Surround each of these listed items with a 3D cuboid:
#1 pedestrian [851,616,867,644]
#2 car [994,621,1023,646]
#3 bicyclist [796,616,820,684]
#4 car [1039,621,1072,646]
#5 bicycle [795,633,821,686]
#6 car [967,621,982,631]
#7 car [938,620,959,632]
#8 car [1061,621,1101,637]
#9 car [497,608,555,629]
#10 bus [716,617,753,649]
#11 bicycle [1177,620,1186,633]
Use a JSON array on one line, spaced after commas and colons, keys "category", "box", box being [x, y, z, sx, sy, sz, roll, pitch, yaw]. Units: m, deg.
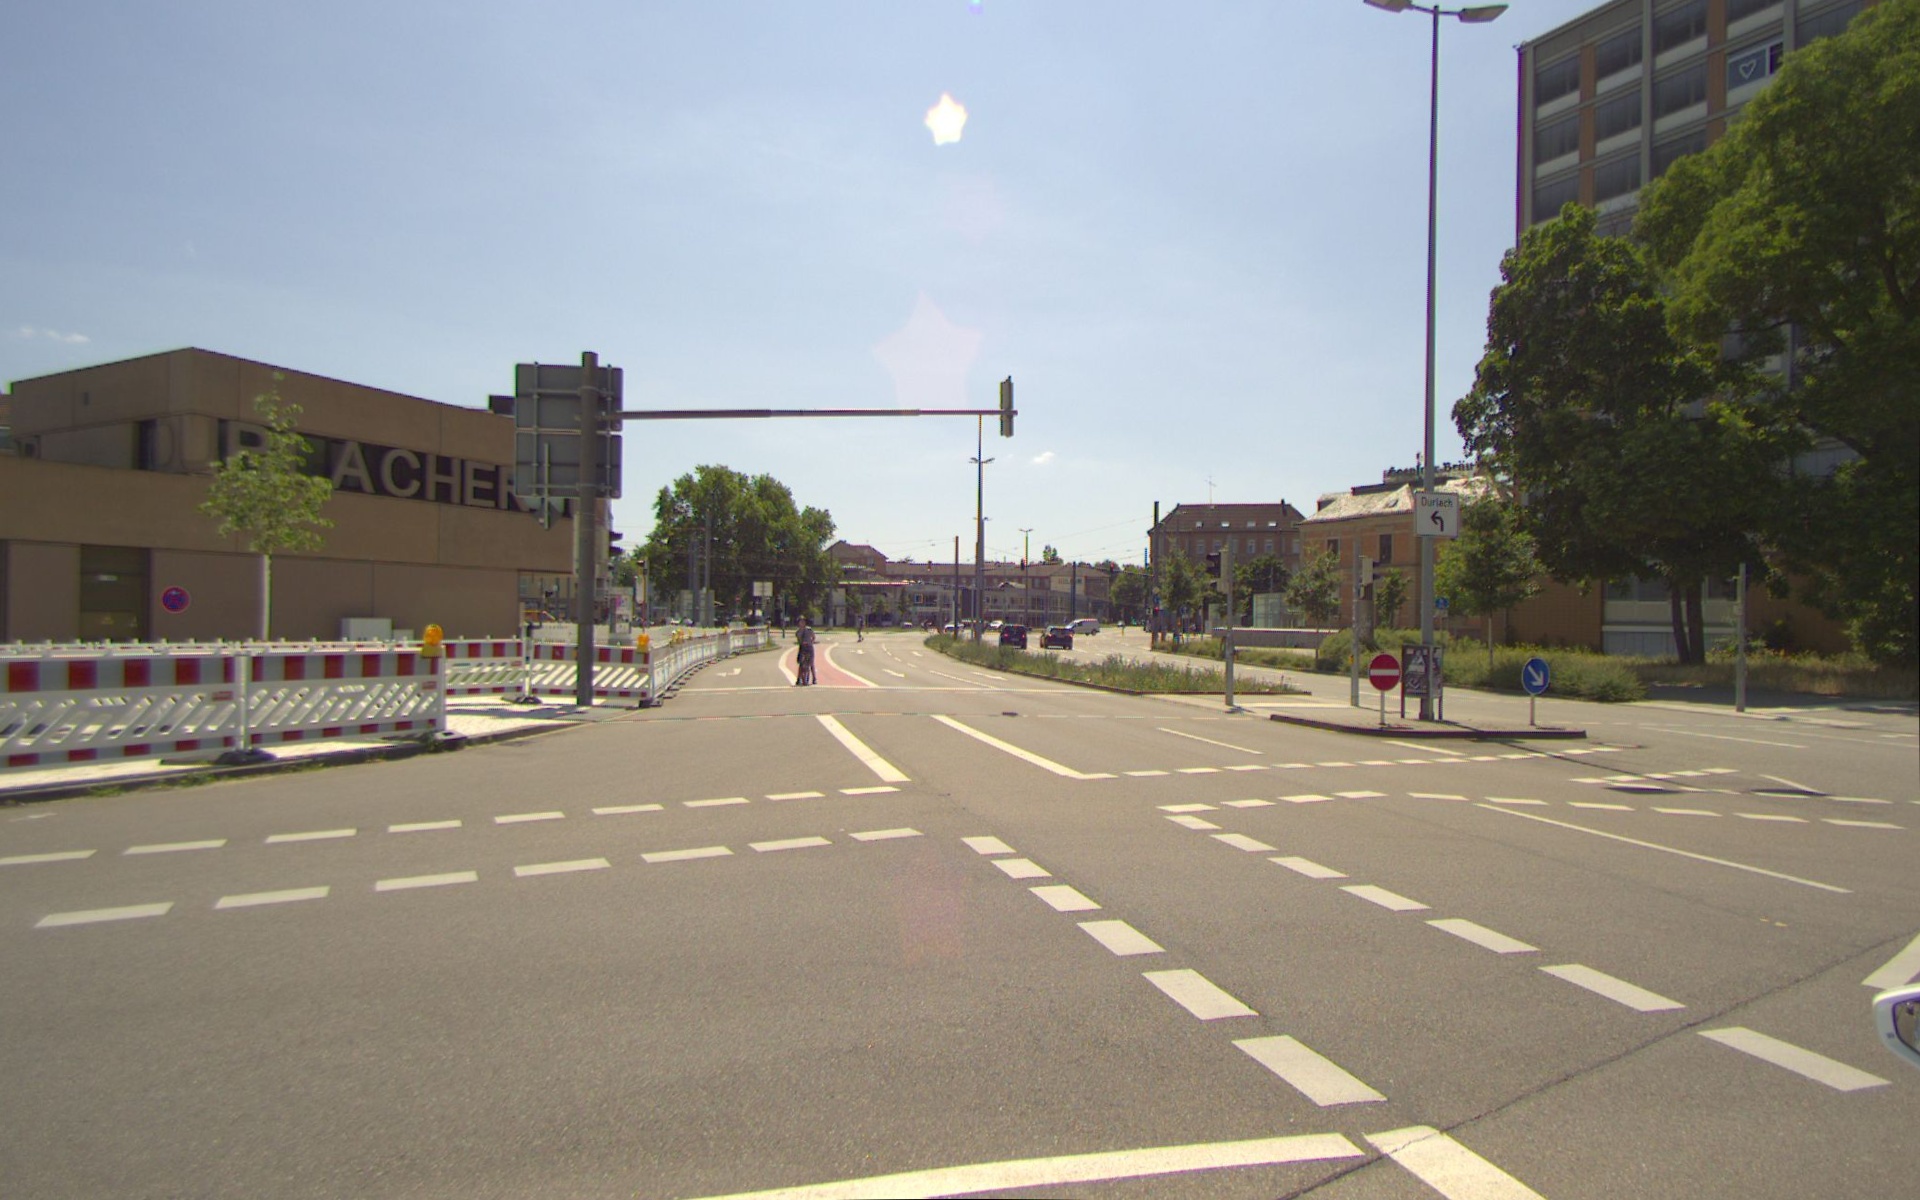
[{"category": "pedestrian", "box": [-7.470, 2.195, 74.242, 1.161, 1.959, 0.901, 2, 1, -7]}, {"category": "car", "box": [3.027, 2.097, 63.093, 1.594, 1.482, 4.000, 1, -1, 0]}, {"category": "bicyclist", "box": [-3.655, 1.191, 24.104, 0.522, 1.600, 0.497, 1, -1, -12]}, {"category": "car", "box": [6.295, 2.210, 66.770, 1.688, 1.577, 4.587, 1, -1, 0]}, {"category": "bicycle", "box": [-3.667, 1.402, 24.113, 0.515, 1.196, 1.894, 1, -2, -11]}, {"category": "car", "box": [2.099, 3.774, 144.110, 1.407, 1.303, 3.263, 2, 1, 12]}, {"category": "car", "box": [-1.489, 3.396, 130.999, 1.592, 1.408, 4.126, 1, -1, 17]}, {"category": "car", "box": [14.147, 3.387, 117.520, 4.255, 1.649, 1.806, 2, 1, -20]}, {"category": "car", "box": [-38.876, 1.657, 90.037, 4.561, 1.635, 1.670, 2, 1, -15]}, {"category": "bus", "box": [-11.347, 1.611, 50.773, 1.225, 1.266, 5.813, 2, 1, -7]}, {"category": "bicycle", "box": [32.227, 3.829, 146.247, 0.602, 1.812, 3.181, 2, 1, 0]}]
